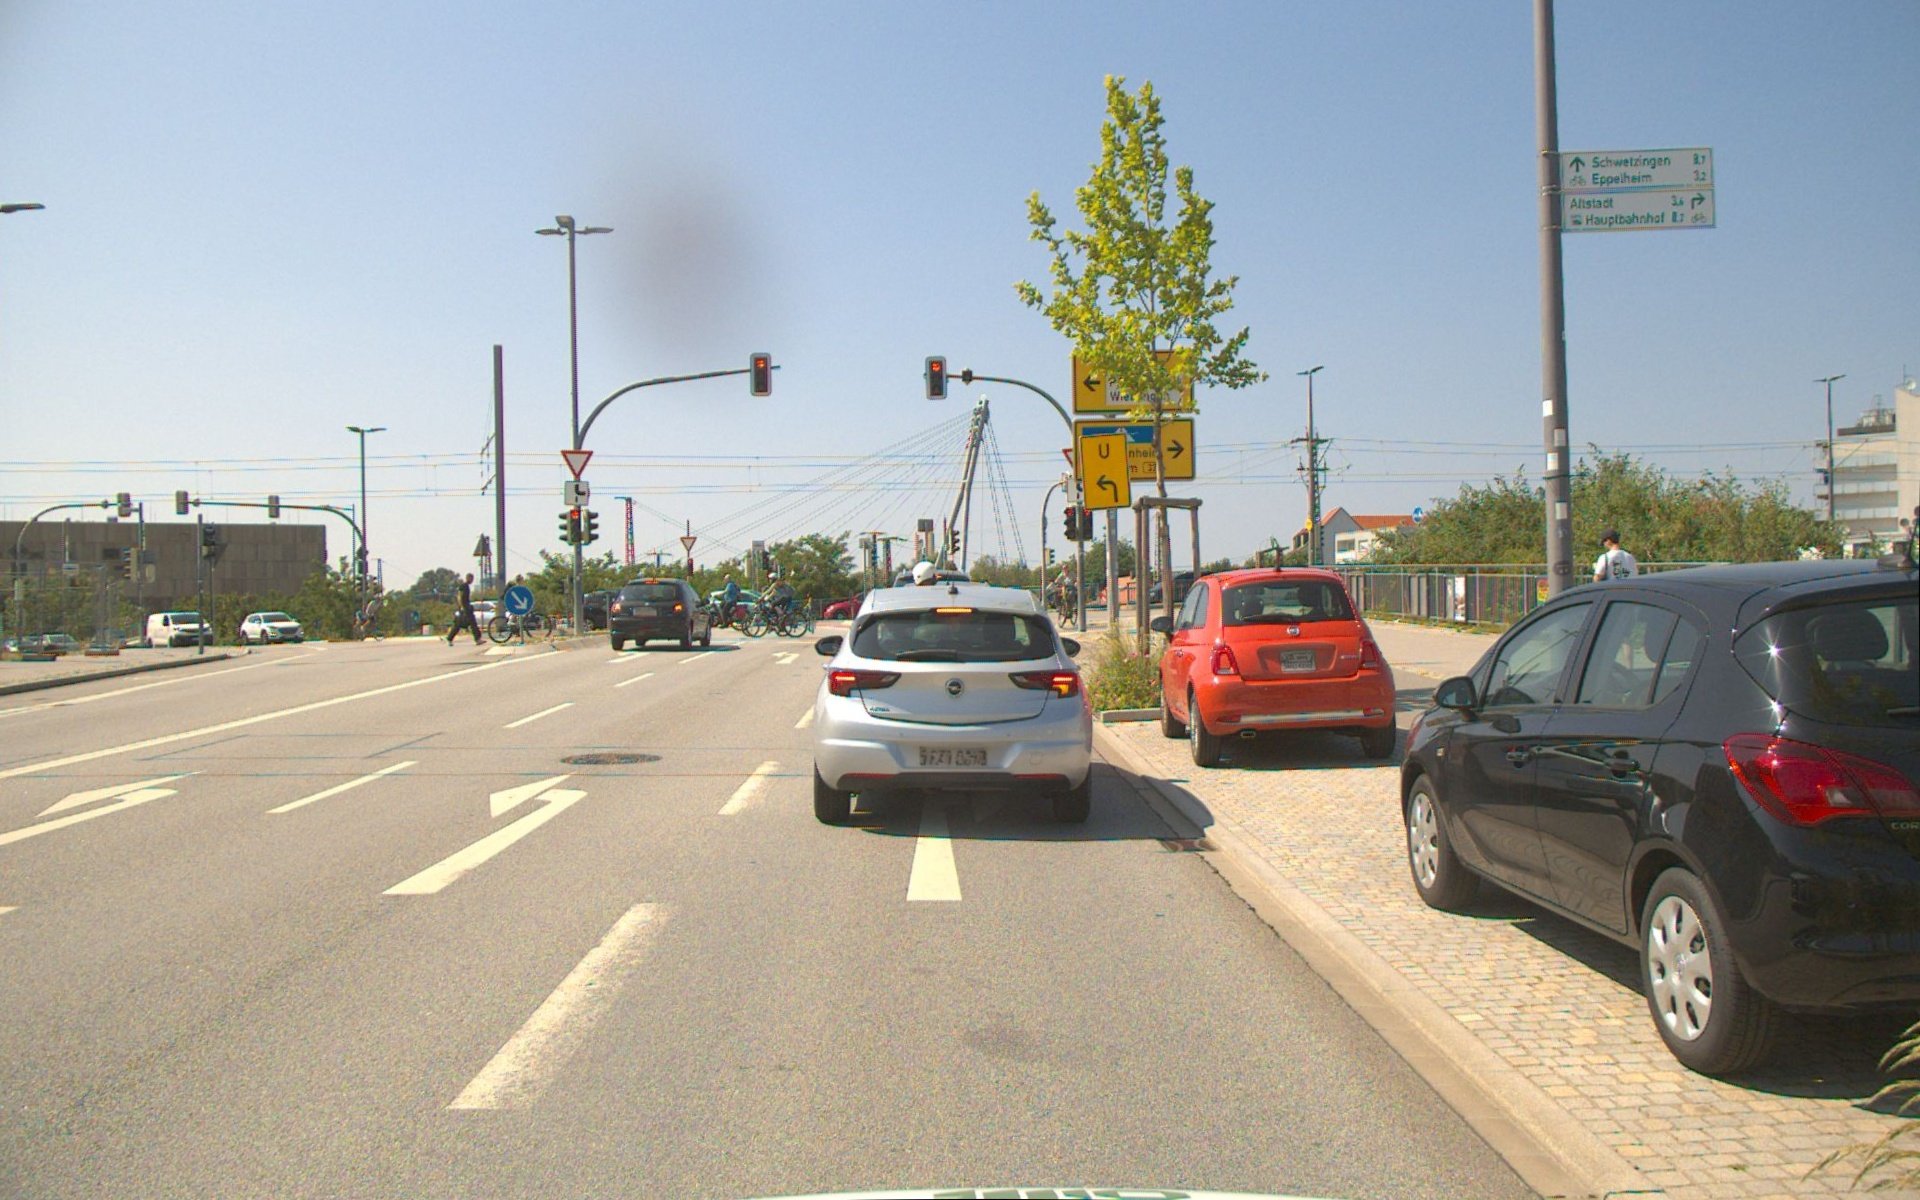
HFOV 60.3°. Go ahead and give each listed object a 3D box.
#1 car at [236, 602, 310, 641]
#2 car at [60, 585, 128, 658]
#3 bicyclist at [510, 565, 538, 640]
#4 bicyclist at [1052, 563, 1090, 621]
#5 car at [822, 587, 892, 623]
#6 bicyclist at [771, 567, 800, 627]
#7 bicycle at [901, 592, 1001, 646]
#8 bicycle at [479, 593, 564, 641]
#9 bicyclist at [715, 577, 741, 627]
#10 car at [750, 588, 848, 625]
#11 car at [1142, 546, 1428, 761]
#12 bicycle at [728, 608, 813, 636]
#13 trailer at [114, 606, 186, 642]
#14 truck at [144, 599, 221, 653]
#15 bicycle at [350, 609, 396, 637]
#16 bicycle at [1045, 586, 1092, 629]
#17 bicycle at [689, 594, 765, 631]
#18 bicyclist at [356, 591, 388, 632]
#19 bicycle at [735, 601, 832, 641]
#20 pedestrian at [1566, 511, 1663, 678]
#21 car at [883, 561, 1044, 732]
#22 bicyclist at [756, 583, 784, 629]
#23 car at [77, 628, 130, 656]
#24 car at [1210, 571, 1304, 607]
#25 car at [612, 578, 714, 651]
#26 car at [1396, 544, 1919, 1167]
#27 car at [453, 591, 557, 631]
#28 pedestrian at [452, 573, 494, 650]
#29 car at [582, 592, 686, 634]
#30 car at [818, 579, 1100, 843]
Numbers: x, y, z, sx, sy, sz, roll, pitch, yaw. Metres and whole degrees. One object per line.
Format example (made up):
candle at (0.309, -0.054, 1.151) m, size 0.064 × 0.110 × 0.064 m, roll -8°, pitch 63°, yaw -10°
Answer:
car at (-34.338, 1.046, 82.633) m, size 3.975 × 1.846 × 1.920 m, roll 0°, pitch 0°, yaw 42°
car at (-25.432, 0.596, 48.570) m, size 1.651 × 2.049 × 3.963 m, roll 1°, pitch 0°, yaw -28°
bicyclist at (-11.306, 0.068, 42.878) m, size 0.582 × 1.920 × 0.636 m, roll 1°, pitch 0°, yaw -5°
bicyclist at (3.102, -0.208, 46.196) m, size 0.803 × 1.596 × 0.948 m, roll 1°, pitch 0°, yaw 20°
car at (-4.959, 0.234, 80.073) m, size 3.311 × 1.684 × 1.647 m, roll 1°, pitch 0°, yaw -2°
bicyclist at (-4.503, -0.069, 42.692) m, size 0.643 × 1.528 × 0.844 m, roll 1°, pitch 0°, yaw 1°
bicycle at (-0.222, 0.489, 42.838) m, size 2.472 × 1.153 × 0.729 m, roll -5°, pitch 2°, yaw 2°
bicycle at (-11.367, 0.439, 42.872) m, size 2.040 × 1.198 × 0.555 m, roll 1°, pitch 0°, yaw -5°
bicyclist at (-7.275, 0.067, 51.899) m, size 0.704 × 1.530 × 0.824 m, roll 0°, pitch 0°, yaw 0°
car at (-6.549, 0.268, 67.510) m, size 3.710 × 1.386 × 1.534 m, roll -1°, pitch 1°, yaw 6°
car at (2.697, 0.416, 14.571) m, size 1.636 × 1.566 × 3.916 m, roll -2°, pitch 0°, yaw -1°
bicycle at (-4.997, 0.580, 43.677) m, size 2.200 × 0.704 × 0.516 m, roll 0°, pitch 0°, yaw 0°
trailer at (-41.935, 1.221, 85.579) m, size 4.212 × 1.807 × 1.987 m, roll 1°, pitch 0°, yaw 44°
truck at (-38.830, 1.258, 82.570) m, size 4.628 × 2.585 × 1.987 m, roll 0°, pitch 0°, yaw 44°
bicycle at (-23.394, 0.916, 65.912) m, size 1.828 × 1.087 × 0.578 m, roll 1°, pitch 0°, yaw 23°
bicycle at (3.042, 0.218, 46.040) m, size 0.661 × 1.147 × 2.365 m, roll 1°, pitch 0°, yaw 20°
bicycle at (-7.293, 0.393, 51.871) m, size 2.271 × 1.153 × 0.637 m, roll 0°, pitch 0°, yaw 0°
bicyclist at (-23.453, 0.452, 65.956) m, size 0.756 × 1.638 × 0.948 m, roll 1°, pitch 0°, yaw 23°
bicycle at (-4.550, 0.534, 42.703) m, size 2.453 × 1.025 × 0.605 m, roll 0°, pitch 0°, yaw 0°
pedestrian at (7.524, -0.061, 19.043) m, size 0.743 × 1.862 × 0.885 m, roll 1°, pitch 0°, yaw -1°
car at (0.002, 0.477, 18.637) m, size 1.601 × 1.703 × 3.744 m, roll 1°, pitch 0°, yaw -1°
bicyclist at (-5.015, 0.149, 43.686) m, size 0.643 × 1.196 × 0.731 m, roll 1°, pitch 0°, yaw 1°
car at (-46.678, 2.293, 90.083) m, size 1.652 × 1.414 × 3.728 m, roll 1°, pitch 0°, yaw -43°
car at (14.705, -0.529, 81.871) m, size 4.179 × 1.703 × 1.990 m, roll 0°, pitch 0°, yaw -18°
car at (-6.138, 0.289, 34.441) m, size 1.555 × 1.419 × 3.339 m, roll 0°, pitch 0°, yaw -1°
car at (2.919, 0.626, 6.132) m, size 1.549 × 1.582 × 3.546 m, roll -3°, pitch 1°, yaw -1°
car at (-19.400, 0.471, 70.533) m, size 3.890 × 1.578 × 1.677 m, roll -1°, pitch -1°, yaw 7°
pedestrian at (-12.204, 0.283, 41.427) m, size 0.724 × 1.896 × 0.754 m, roll 1°, pitch 0°, yaw 9°
car at (-12.912, 0.504, 65.627) m, size 3.668 × 1.611 × 1.815 m, roll 0°, pitch 0°, yaw 4°
car at (-0.039, 0.637, 11.857) m, size 1.656 × 1.546 × 4.270 m, roll 0°, pitch 0°, yaw -1°
